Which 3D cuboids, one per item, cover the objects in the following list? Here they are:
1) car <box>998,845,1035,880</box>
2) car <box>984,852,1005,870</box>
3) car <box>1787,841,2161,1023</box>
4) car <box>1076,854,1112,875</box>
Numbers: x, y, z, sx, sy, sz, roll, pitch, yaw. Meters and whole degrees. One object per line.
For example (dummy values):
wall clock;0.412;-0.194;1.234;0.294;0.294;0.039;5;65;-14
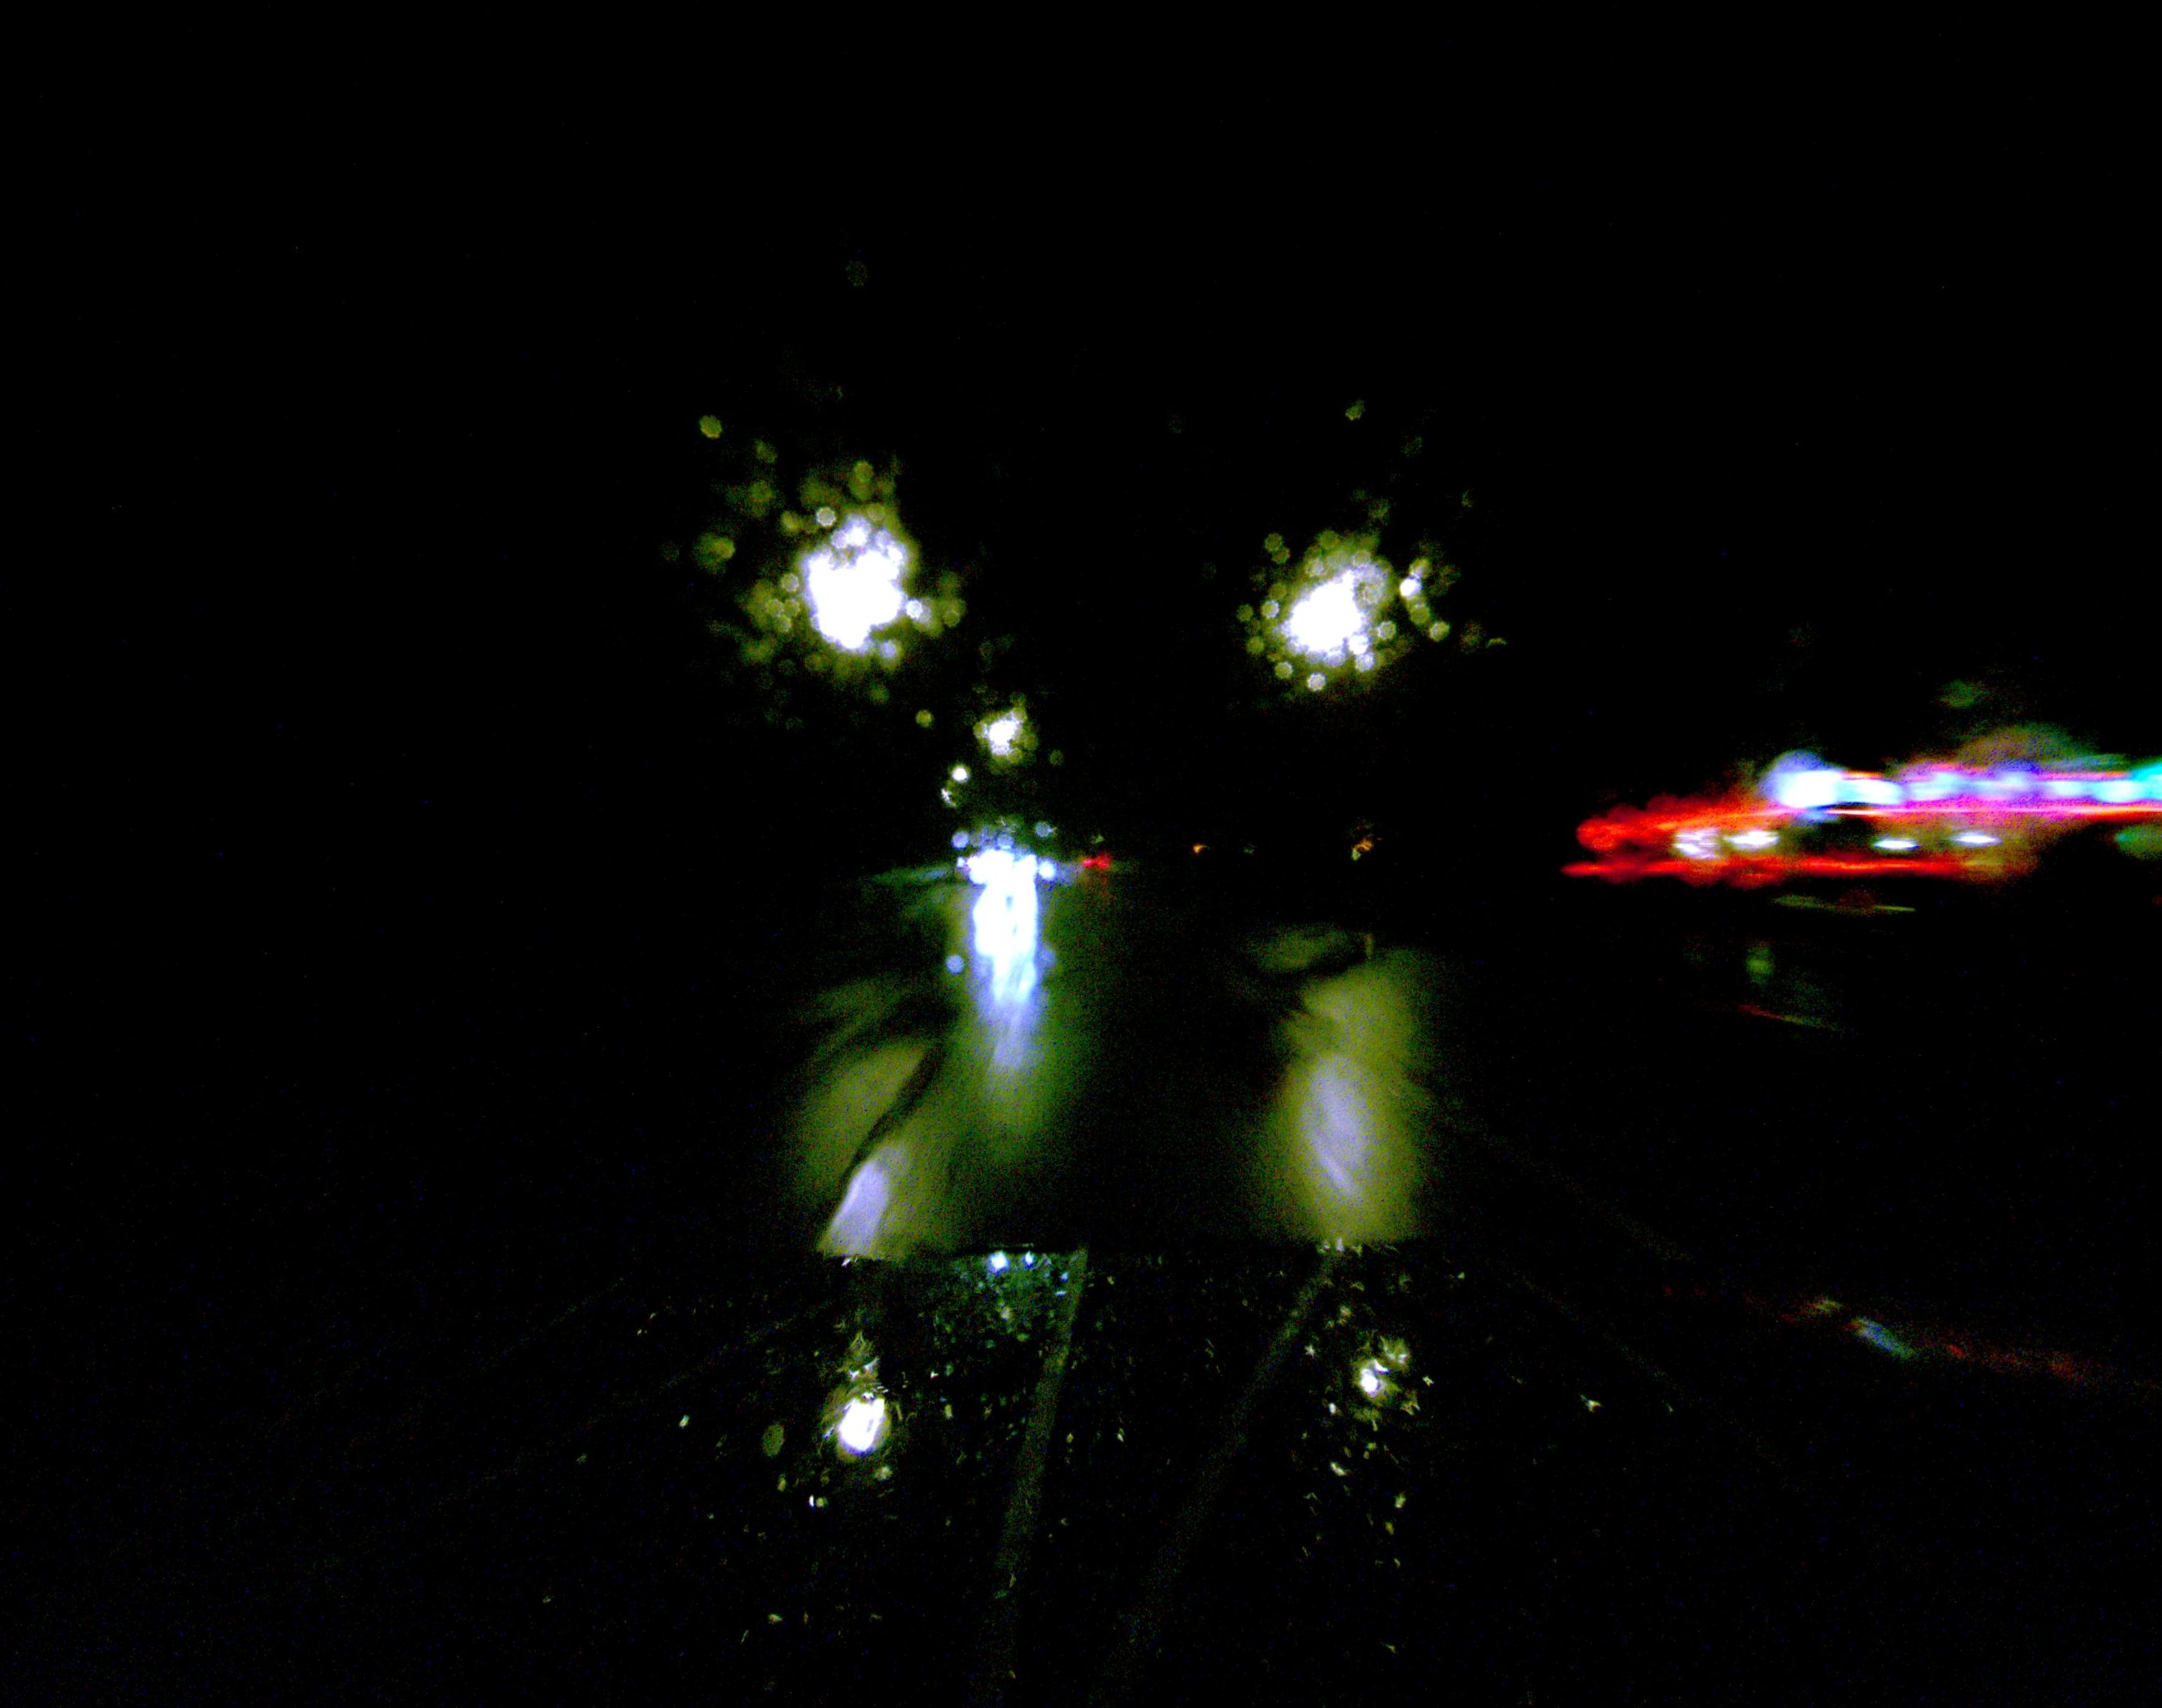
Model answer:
car;-3.577;0.461;42.940;1.937;1.861;3.999;0;0;-3
car;-10.044;0.820;88.070;2.000;1.922;3.997;2;-1;-10
car;9.689;0.634;7.365;1.771;1.448;3.950;-3;1;-7
car;0.902;0.744;55.856;1.832;1.495;4.183;0;0;-10
